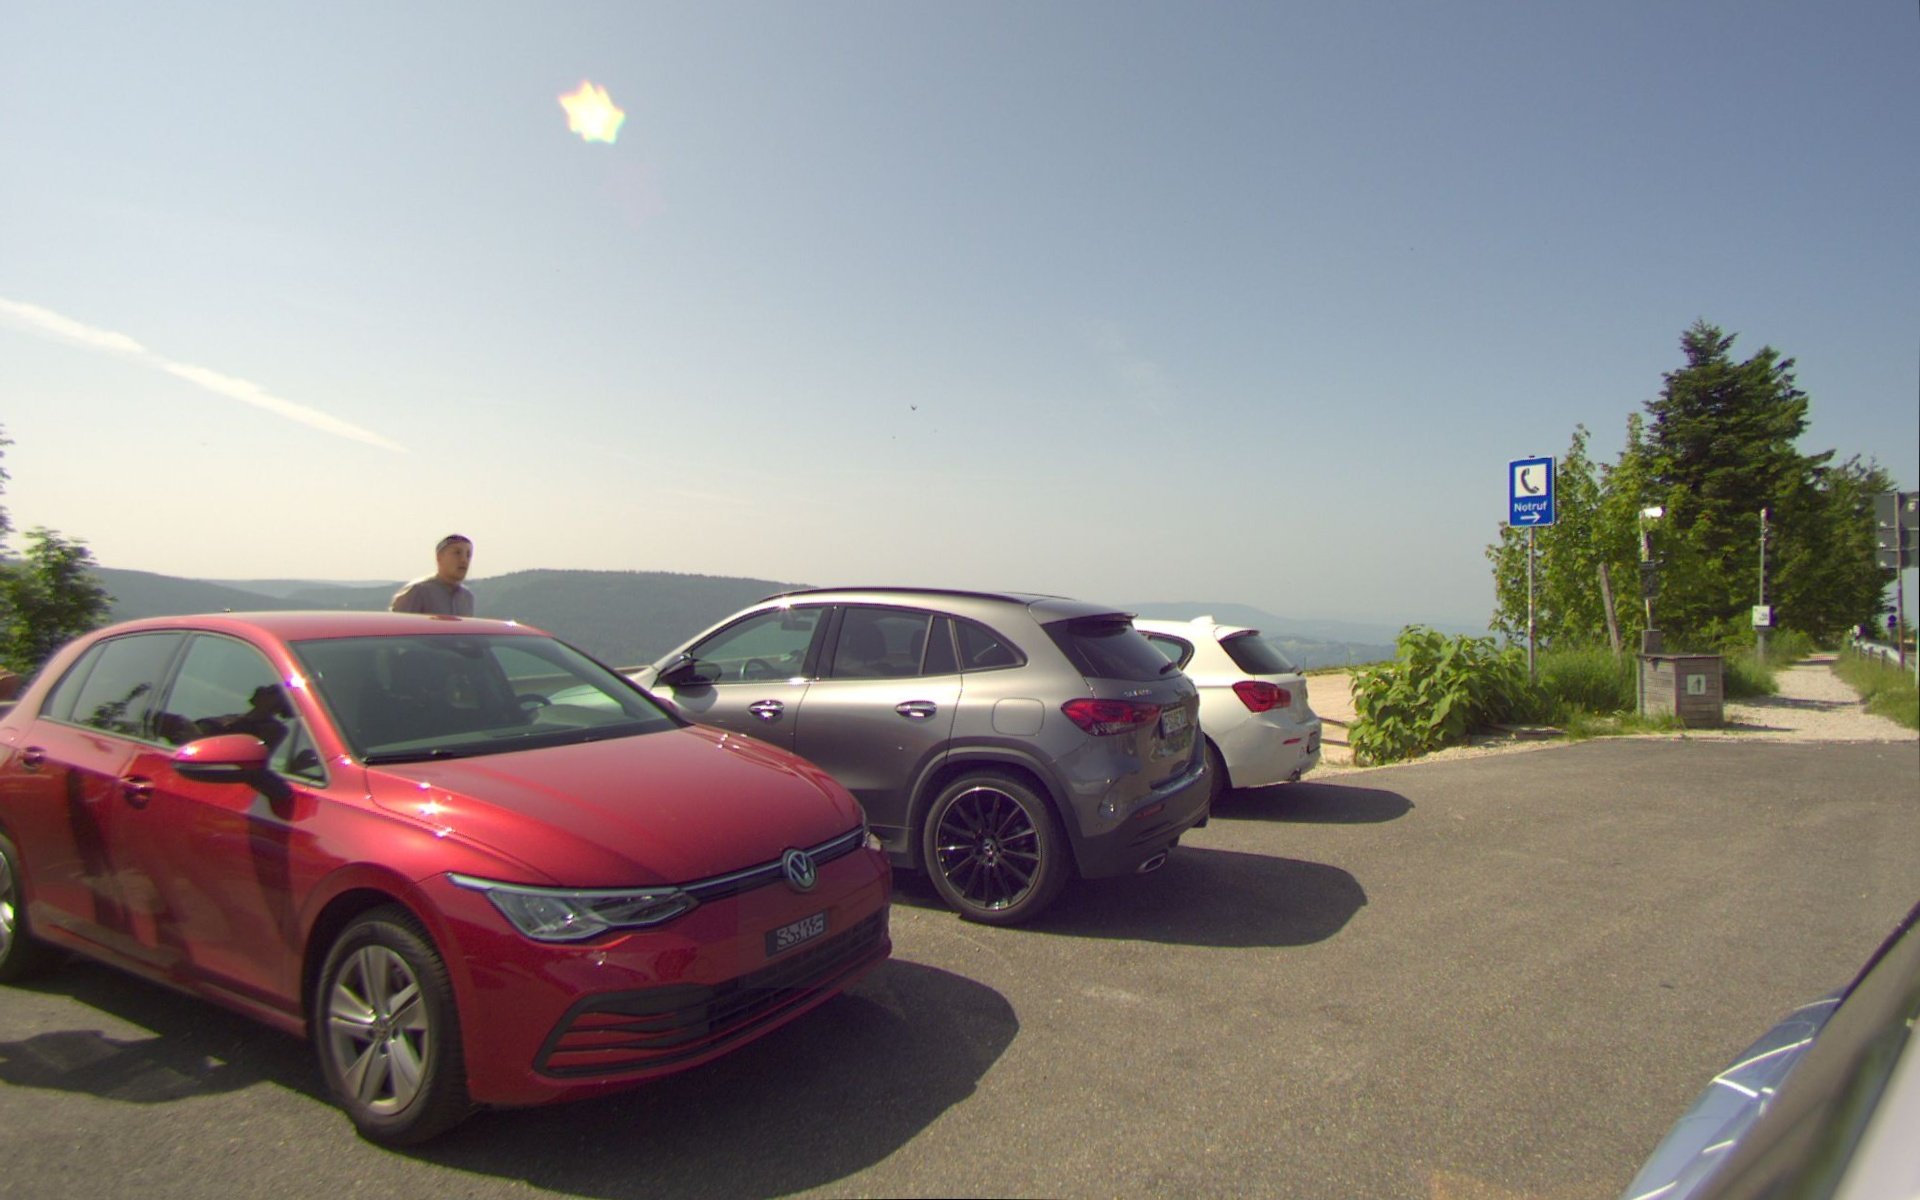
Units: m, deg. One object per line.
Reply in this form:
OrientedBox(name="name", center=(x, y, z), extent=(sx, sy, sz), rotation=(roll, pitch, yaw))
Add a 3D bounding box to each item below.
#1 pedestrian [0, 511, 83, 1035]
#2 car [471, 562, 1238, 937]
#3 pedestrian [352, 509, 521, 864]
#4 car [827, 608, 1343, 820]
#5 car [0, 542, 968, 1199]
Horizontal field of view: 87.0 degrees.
OrientedBox(name="pedestrian", center=(-3.458, 0.580, 3.442), extent=(0.500, 1.747, 0.562), rotation=(-2, -1, 25))
OrientedBox(name="car", center=(-0.722, 0.677, 6.174), extent=(4.369, 1.588, 1.889), rotation=(-1, -1, 28))
OrientedBox(name="pedestrian", center=(-3.069, 0.471, 5.946), extent=(0.607, 1.924, 0.670), rotation=(-2, -1, 37))
OrientedBox(name="car", center=(0.976, 0.801, 8.455), extent=(3.963, 1.403, 1.640), rotation=(-1, -1, 29))
OrientedBox(name="car", center=(-2.132, 0.673, 4.043), extent=(3.964, 1.529, 1.823), rotation=(-1, -1, 29))
